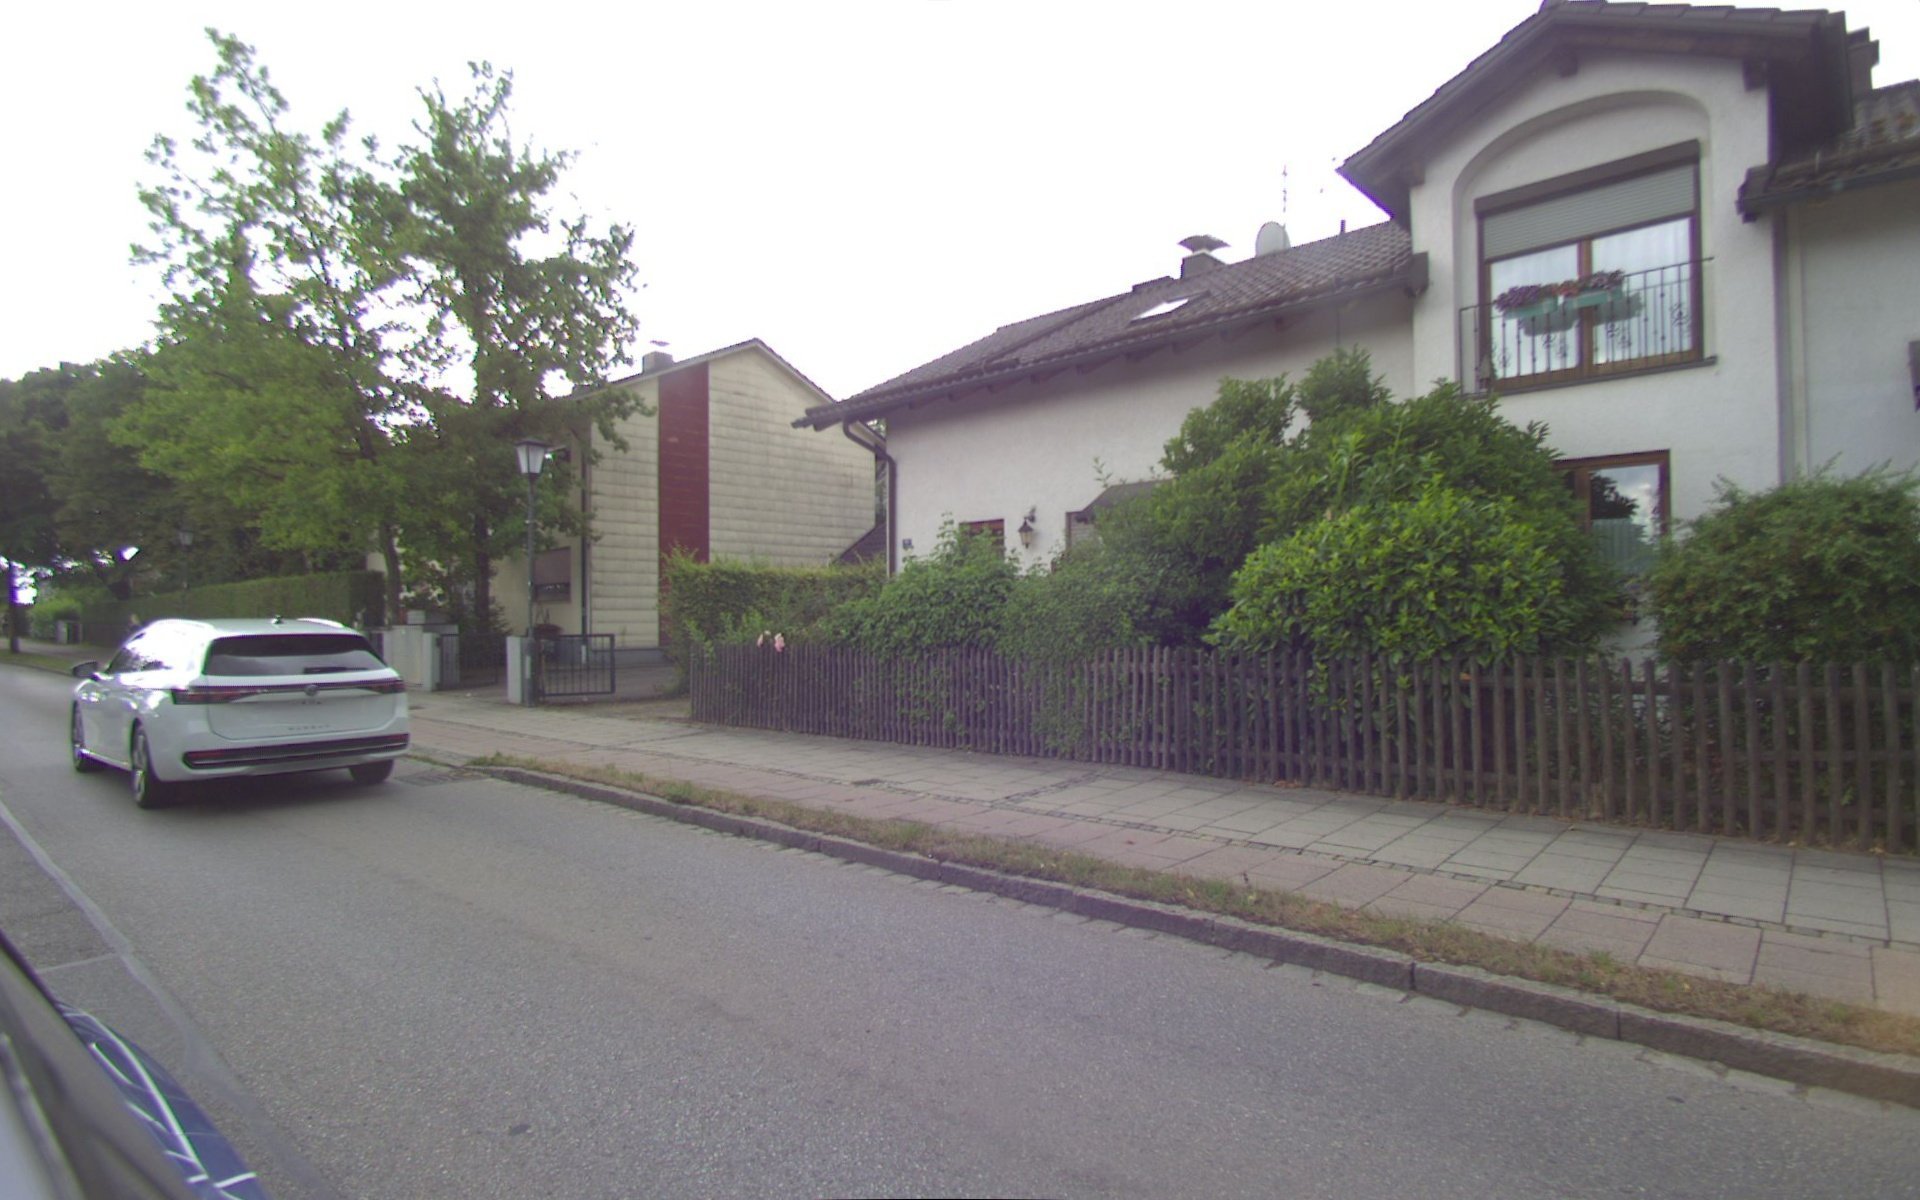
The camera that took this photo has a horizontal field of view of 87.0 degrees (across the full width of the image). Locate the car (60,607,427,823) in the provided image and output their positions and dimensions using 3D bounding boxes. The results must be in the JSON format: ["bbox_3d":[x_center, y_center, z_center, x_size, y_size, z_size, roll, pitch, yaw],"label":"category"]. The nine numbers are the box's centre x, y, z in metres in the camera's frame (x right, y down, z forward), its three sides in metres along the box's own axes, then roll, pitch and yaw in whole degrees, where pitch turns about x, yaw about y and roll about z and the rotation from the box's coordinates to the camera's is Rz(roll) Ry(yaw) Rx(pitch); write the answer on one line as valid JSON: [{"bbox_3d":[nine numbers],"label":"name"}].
[{"bbox_3d":[-6.609,0.845,9.138,4.373,1.495,1.733,-1,-1,41],"label":"car"}]

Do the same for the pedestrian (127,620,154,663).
[{"bbox_3d":[-27.726,1.402,34.242,0.563,1.448,0.623,-2,-2,41],"label":"pedestrian"}]
